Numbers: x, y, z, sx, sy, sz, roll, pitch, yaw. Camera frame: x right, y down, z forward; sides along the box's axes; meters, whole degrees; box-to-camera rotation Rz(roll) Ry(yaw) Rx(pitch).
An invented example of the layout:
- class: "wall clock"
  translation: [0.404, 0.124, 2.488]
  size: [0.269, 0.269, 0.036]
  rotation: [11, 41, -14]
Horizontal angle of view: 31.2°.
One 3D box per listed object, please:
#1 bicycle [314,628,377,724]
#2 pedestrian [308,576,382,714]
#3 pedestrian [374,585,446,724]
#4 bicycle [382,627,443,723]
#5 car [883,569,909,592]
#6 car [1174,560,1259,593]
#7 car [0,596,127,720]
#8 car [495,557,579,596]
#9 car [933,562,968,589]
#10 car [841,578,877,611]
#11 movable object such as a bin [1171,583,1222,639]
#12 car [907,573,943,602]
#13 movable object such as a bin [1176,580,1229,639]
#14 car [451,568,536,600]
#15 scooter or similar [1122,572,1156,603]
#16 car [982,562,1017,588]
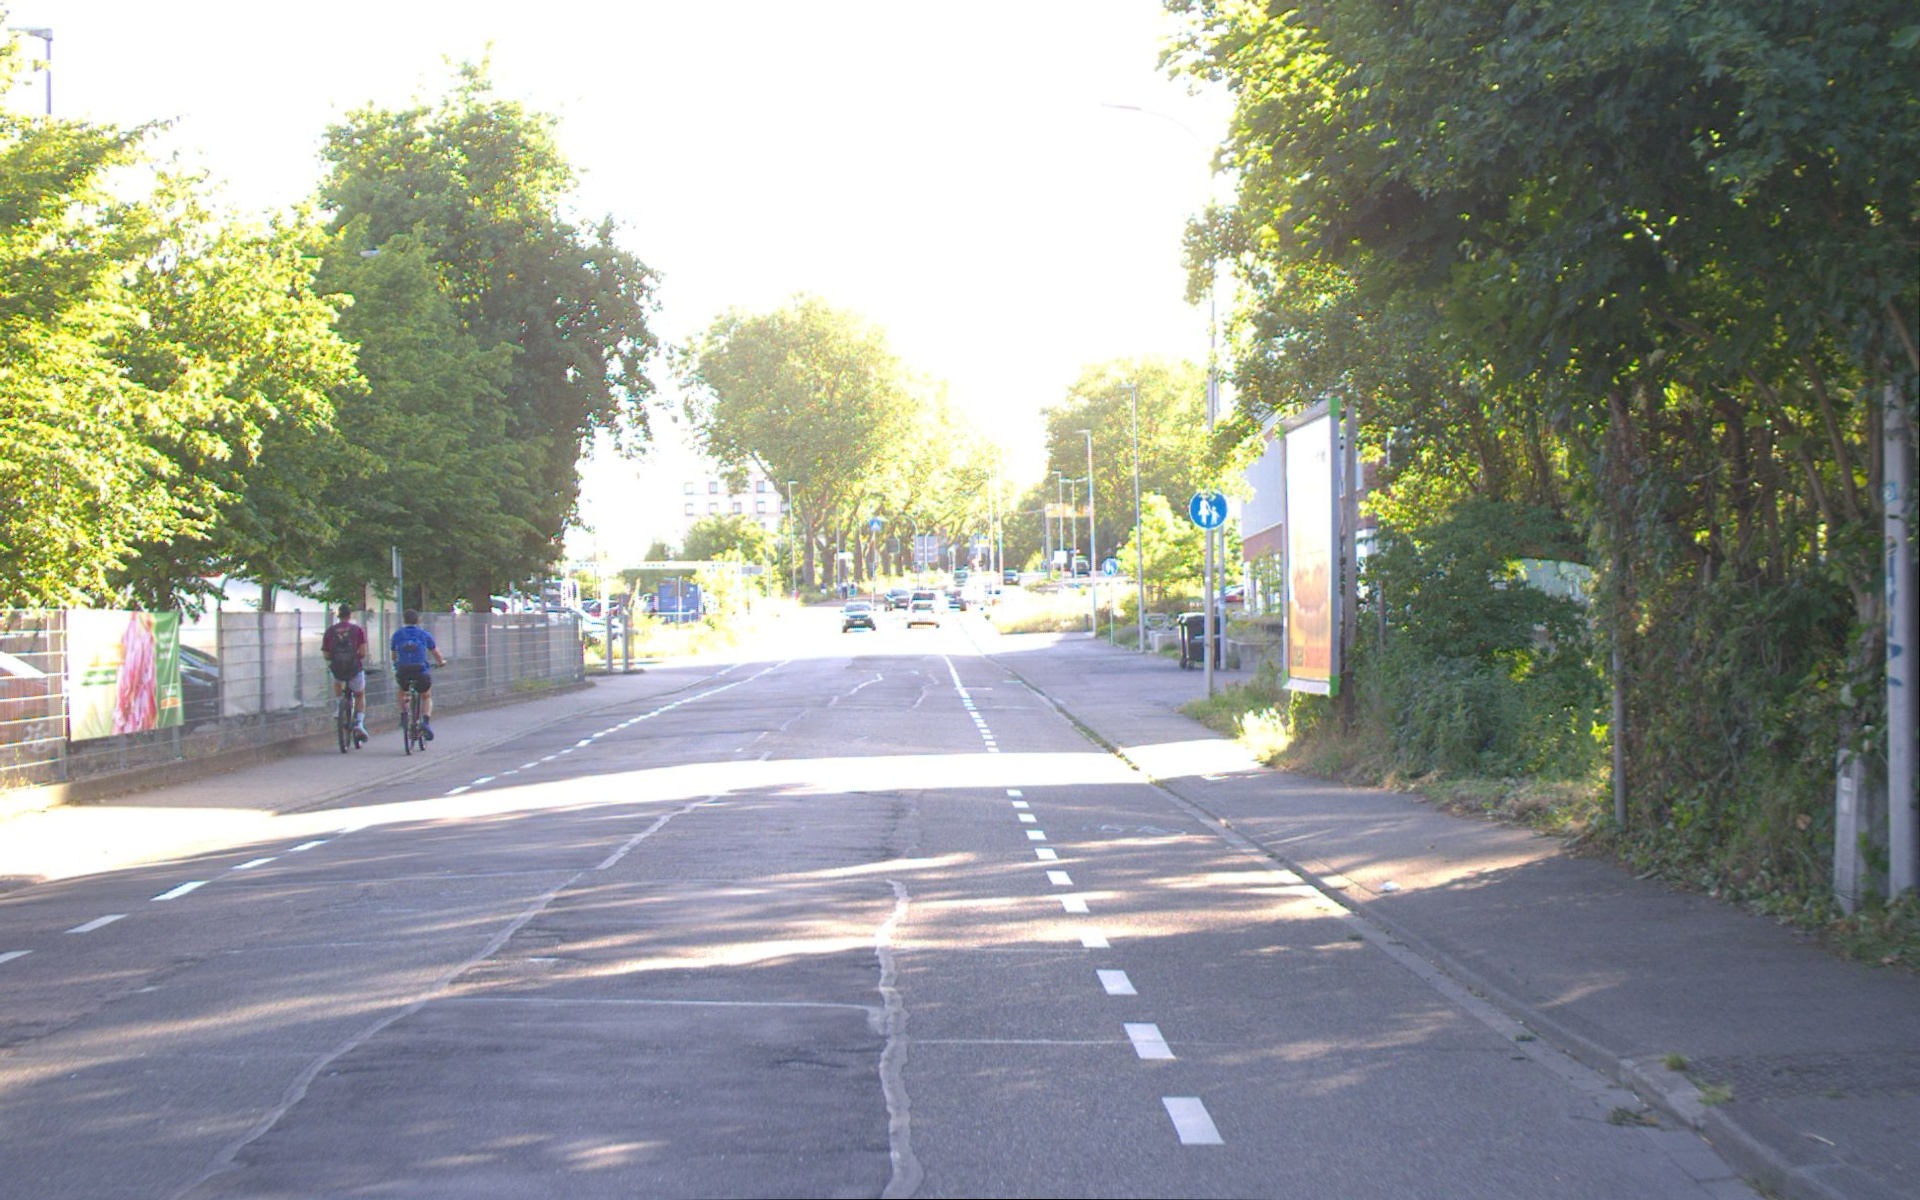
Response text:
- class: "bicycle"
  translation: [-7.762, 0.951, 43.472]
  size: [0.470, 1.144, 1.869]
  rotation: [0, 1, -1]
- class: "pedestrian"
  translation: [-7.785, 0.555, 43.566]
  size: [0.721, 1.715, 1.057]
  rotation: [-1, 0, 0]
- class: "pedestrian"
  translation: [-6.950, 0.679, 43.464]
  size: [0.721, 1.715, 1.057]
  rotation: [-1, 0, 0]
- class: "bicycle"
  translation: [-6.921, 0.937, 43.535]
  size: [0.446, 1.144, 2.201]
  rotation: [0, 1, -1]
- class: "car"
  translation: [-4.297, -1.297, 232.229]
  size: [1.654, 1.498, 4.000]
  rotation: [-2, 0, 0]
- class: "car"
  translation: [12.846, -1.178, 172.372]
  size: [4.184, 1.575, 1.851]
  rotation: [-1, 1, 3]
- class: "car"
  translation: [-12.665, 0.805, 43.601]
  size: [3.725, 1.446, 1.806]
  rotation: [-4, 1, -2]
- class: "car"
  translation: [-27.262, -1.532, 221.616]
  size: [5.096, 2.451, 2.320]
  rotation: [-1, 1, -1]
- class: "car"
  translation: [-0.603, -1.586, 223.100]
  size: [2.163, 1.678, 4.000]
  rotation: [-1, 1, 1]
- class: "car"
  translation: [-5.174, -0.300, 176.603]
  size: [1.740, 1.520, 4.112]
  rotation: [-5, 1, -1]
- class: "movable object such as a bin"
  translation: [5.784, 0.254, 84.139]
  size: [1.128, 1.331, 1.345]
  rotation: [-1, 1, -1]
- class: "car"
  translation: [-1.842, -0.669, 182.247]
  size: [1.790, 1.415, 4.000]
  rotation: [0, 1, 1]
- class: "movable object such as a bin"
  translation: [5.806, 0.226, 82.466]
  size: [1.128, 1.367, 1.345]
  rotation: [-1, 1, -1]
- class: "car"
  translation: [-27.176, -0.938, 200.371]
  size: [4.580, 1.735, 2.058]
  rotation: [-1, 1, 3]
- class: "scooter or similar"
  translation: [7.118, -0.502, 136.770]
  size: [1.340, 1.241, 0.423]
  rotation: [-1, 0, 4]
- class: "car"
  translation: [2.626, -1.695, 228.245]
  size: [2.163, 1.678, 4.000]
  rotation: [-1, 1, -1]
